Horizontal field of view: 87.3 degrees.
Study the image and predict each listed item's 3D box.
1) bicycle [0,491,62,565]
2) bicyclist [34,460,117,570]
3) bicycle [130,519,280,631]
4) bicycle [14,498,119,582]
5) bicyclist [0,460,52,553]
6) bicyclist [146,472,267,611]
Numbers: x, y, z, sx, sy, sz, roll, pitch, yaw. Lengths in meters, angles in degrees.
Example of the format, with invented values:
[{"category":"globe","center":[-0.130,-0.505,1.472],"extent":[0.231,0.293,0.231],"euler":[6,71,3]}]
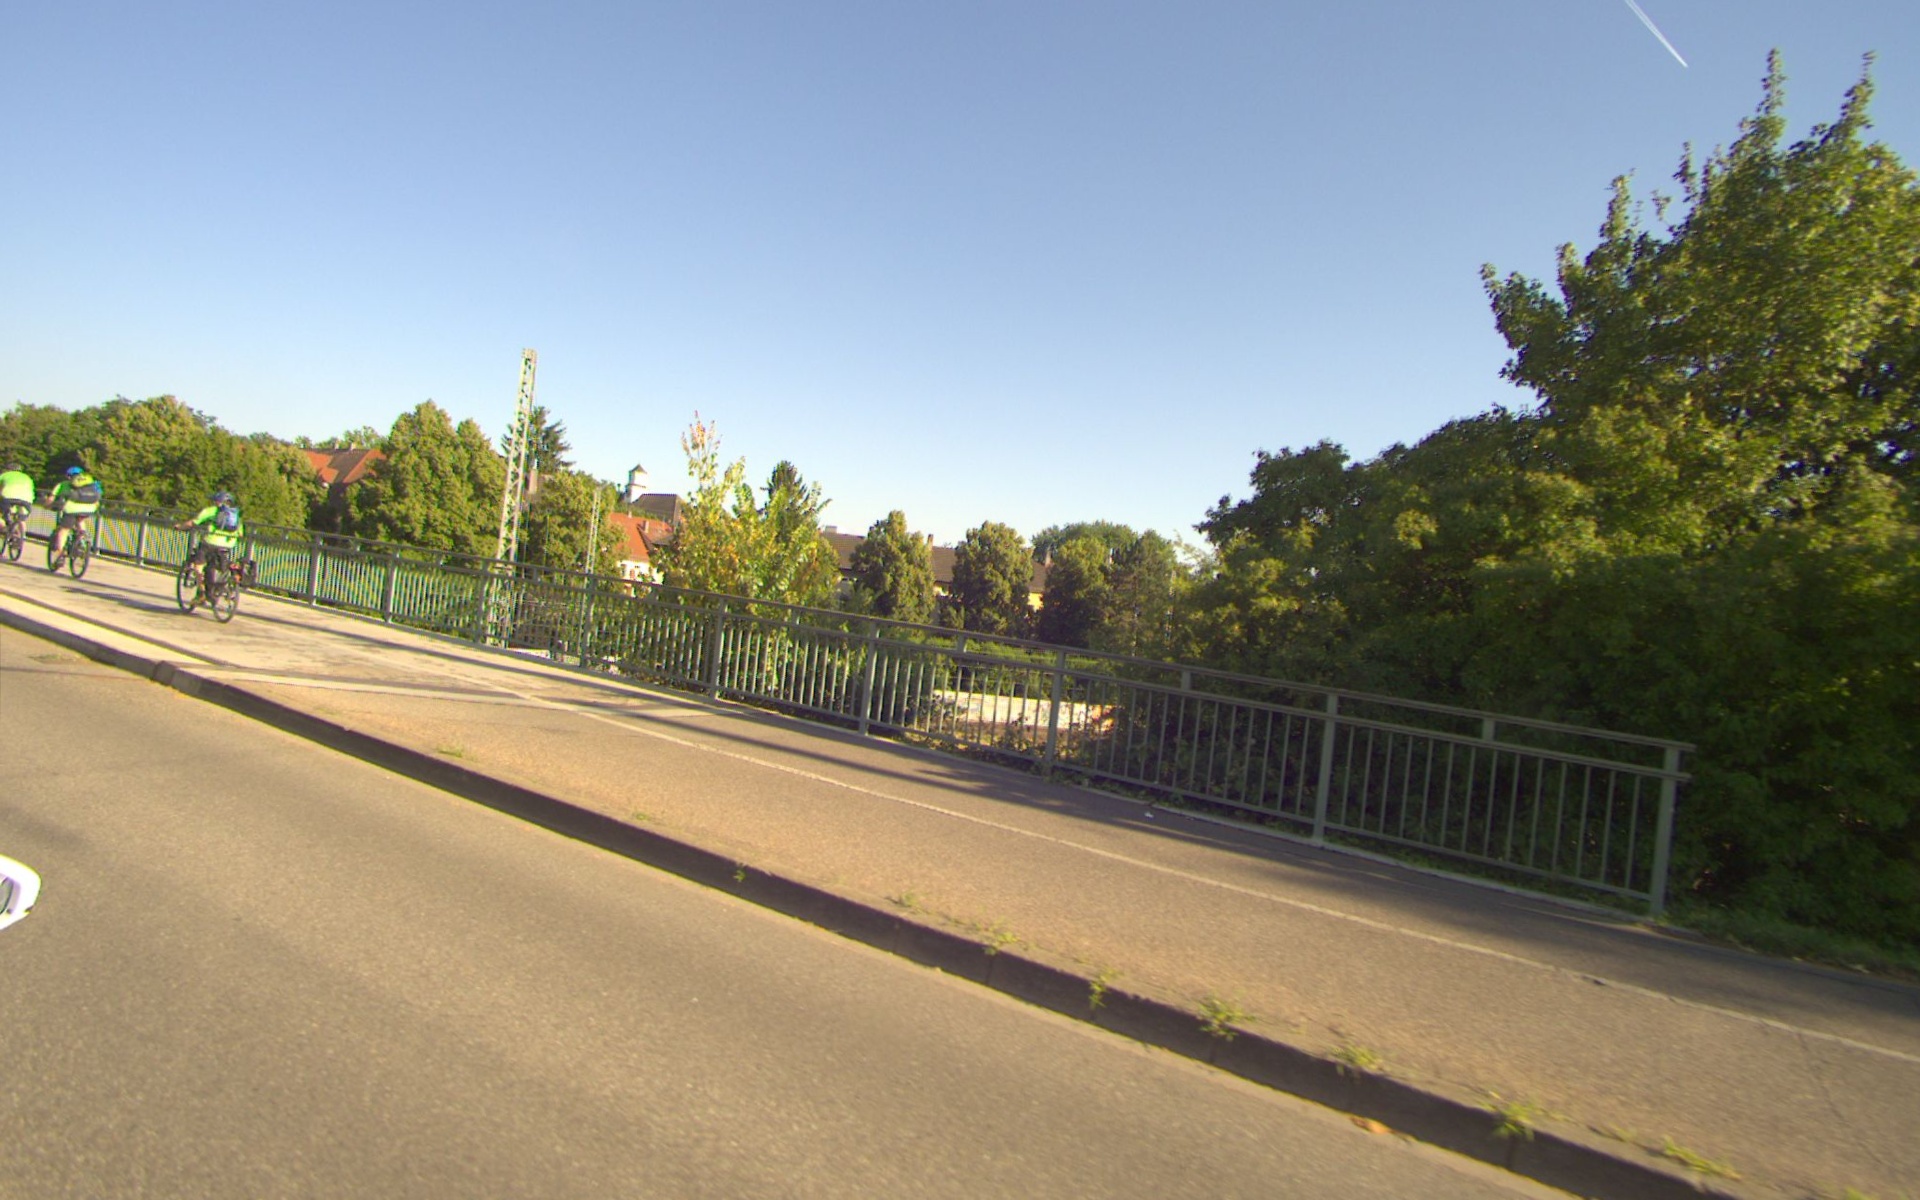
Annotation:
[{"category":"bicycle","center":[-16.643,-1.306,17.662],"extent":[2.222,1.136,0.626],"euler":[7,0,32]},{"category":"bicyclist","center":[-14.061,-1.350,15.991],"extent":[0.915,1.611,0.626],"euler":[7,0,32]},{"category":"bicycle","center":[-9.625,-0.336,12.796],"extent":[2.179,1.136,0.684],"euler":[8,0,32]},{"category":"bicycle","center":[-14.280,-0.971,16.057],"extent":[2.008,1.136,0.626],"euler":[6,-1,32]},{"category":"bicyclist","center":[-16.638,-1.653,17.685],"extent":[0.989,1.526,0.626],"euler":[7,0,32]},{"category":"bicyclist","center":[-9.560,-0.735,12.775],"extent":[0.881,1.581,0.813],"euler":[8,0,32]}]
